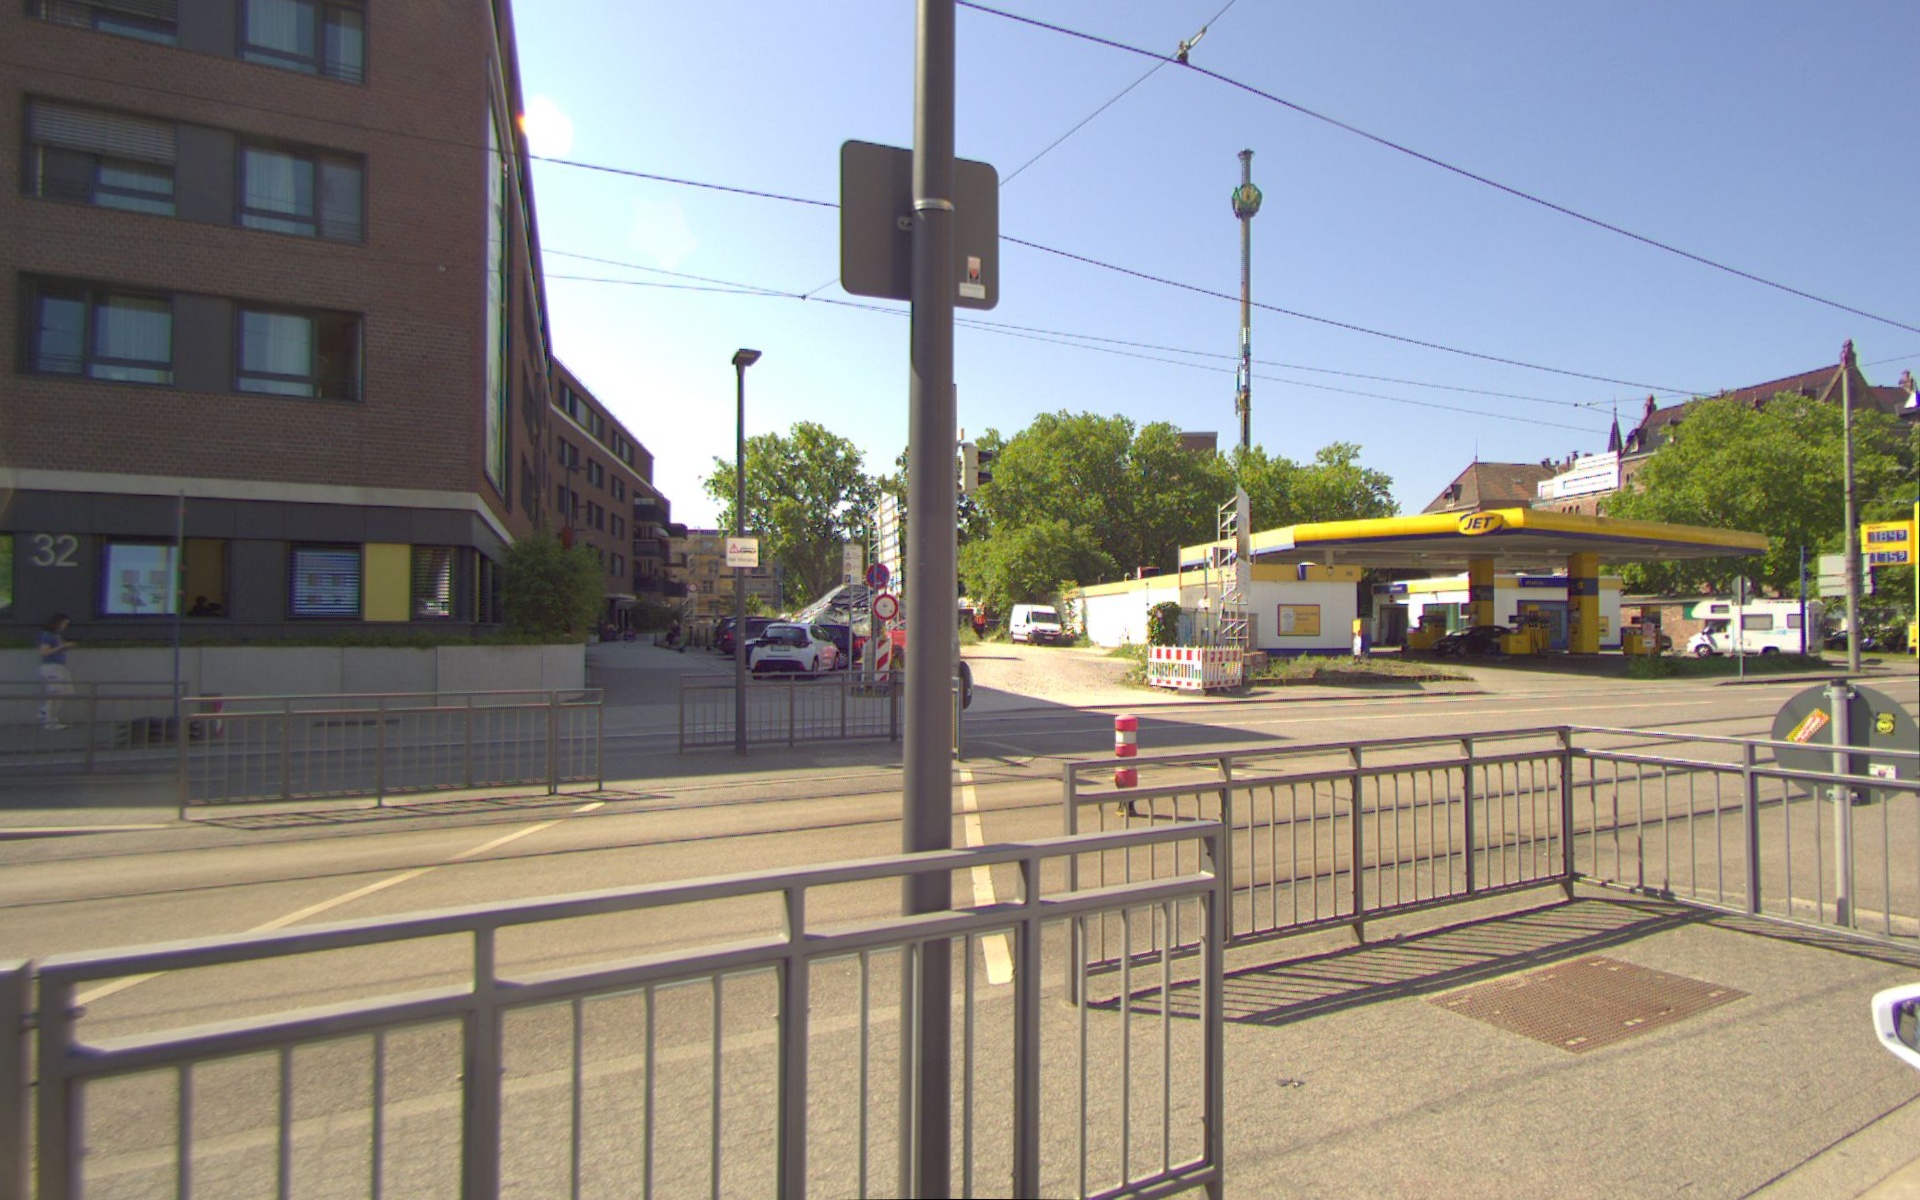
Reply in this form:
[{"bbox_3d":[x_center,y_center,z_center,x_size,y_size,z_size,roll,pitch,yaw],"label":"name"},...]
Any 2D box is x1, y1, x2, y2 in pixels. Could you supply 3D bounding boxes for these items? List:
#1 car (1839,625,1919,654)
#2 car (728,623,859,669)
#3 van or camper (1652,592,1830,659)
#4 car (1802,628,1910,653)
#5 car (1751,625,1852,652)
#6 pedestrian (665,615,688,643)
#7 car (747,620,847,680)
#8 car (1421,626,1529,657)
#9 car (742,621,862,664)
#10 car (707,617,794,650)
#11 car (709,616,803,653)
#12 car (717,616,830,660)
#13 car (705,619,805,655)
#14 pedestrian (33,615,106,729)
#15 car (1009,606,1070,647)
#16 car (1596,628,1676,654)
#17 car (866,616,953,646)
[{"bbox_3d":[53.954,2.274,57.978,4.485,1.646,1.951,0,-1,11],"label":"car"},{"bbox_3d":[-5.319,1.448,32.033,3.986,1.384,1.865,1,-1,-13],"label":"car"},{"bbox_3d":[39.735,1.217,51.308,2.592,3.007,6.643,1,1,-36],"label":"van or camper"},{"bbox_3d":[53.931,2.422,60.542,4.485,1.487,1.951,0,-1,11],"label":"car"},{"bbox_3d":[53.170,2.413,63.548,4.485,1.604,1.951,0,-1,11],"label":"car"},{"bbox_3d":[-13.987,1.408,49.473,1.055,1.330,1.008,1,0,-18],"label":"pedestrian"},{"bbox_3d":[-4.506,1.353,28.340,1.765,1.442,4.002,1,0,6],"label":"car"},{"bbox_3d":[24.125,1.930,47.093,4.310,1.320,1.699,1,0,-9],"label":"car"},{"bbox_3d":[-5.428,1.464,34.883,3.981,1.384,1.867,1,-1,-7],"label":"car"},{"bbox_3d":[-10.063,1.605,48.107,3.989,1.484,1.730,1,-1,-15],"label":"car"},{"bbox_3d":[-9.085,1.535,44.631,3.989,1.588,1.769,1,-1,-15],"label":"car"},{"bbox_3d":[-7.018,1.433,37.655,3.990,1.552,1.812,1,-1,-16],"label":"car"},{"bbox_3d":[-8.508,1.540,41.611,3.989,1.402,1.798,1,-1,-15],"label":"car"},{"bbox_3d":[-13.621,1.086,15.378,0.691,1.686,0.579,1,-2,-28],"label":"pedestrian"},{"bbox_3d":[4.755,1.587,60.954,2.287,2.358,5.650,1,-1,-11],"label":"car"},{"bbox_3d":[42.833,2.550,63.750,1.902,1.547,4.166,1,-1,-8],"label":"car"},{"bbox_3d":[-2.598,1.575,51.334,4.174,1.449,1.826,1,0,-15],"label":"car"}]
